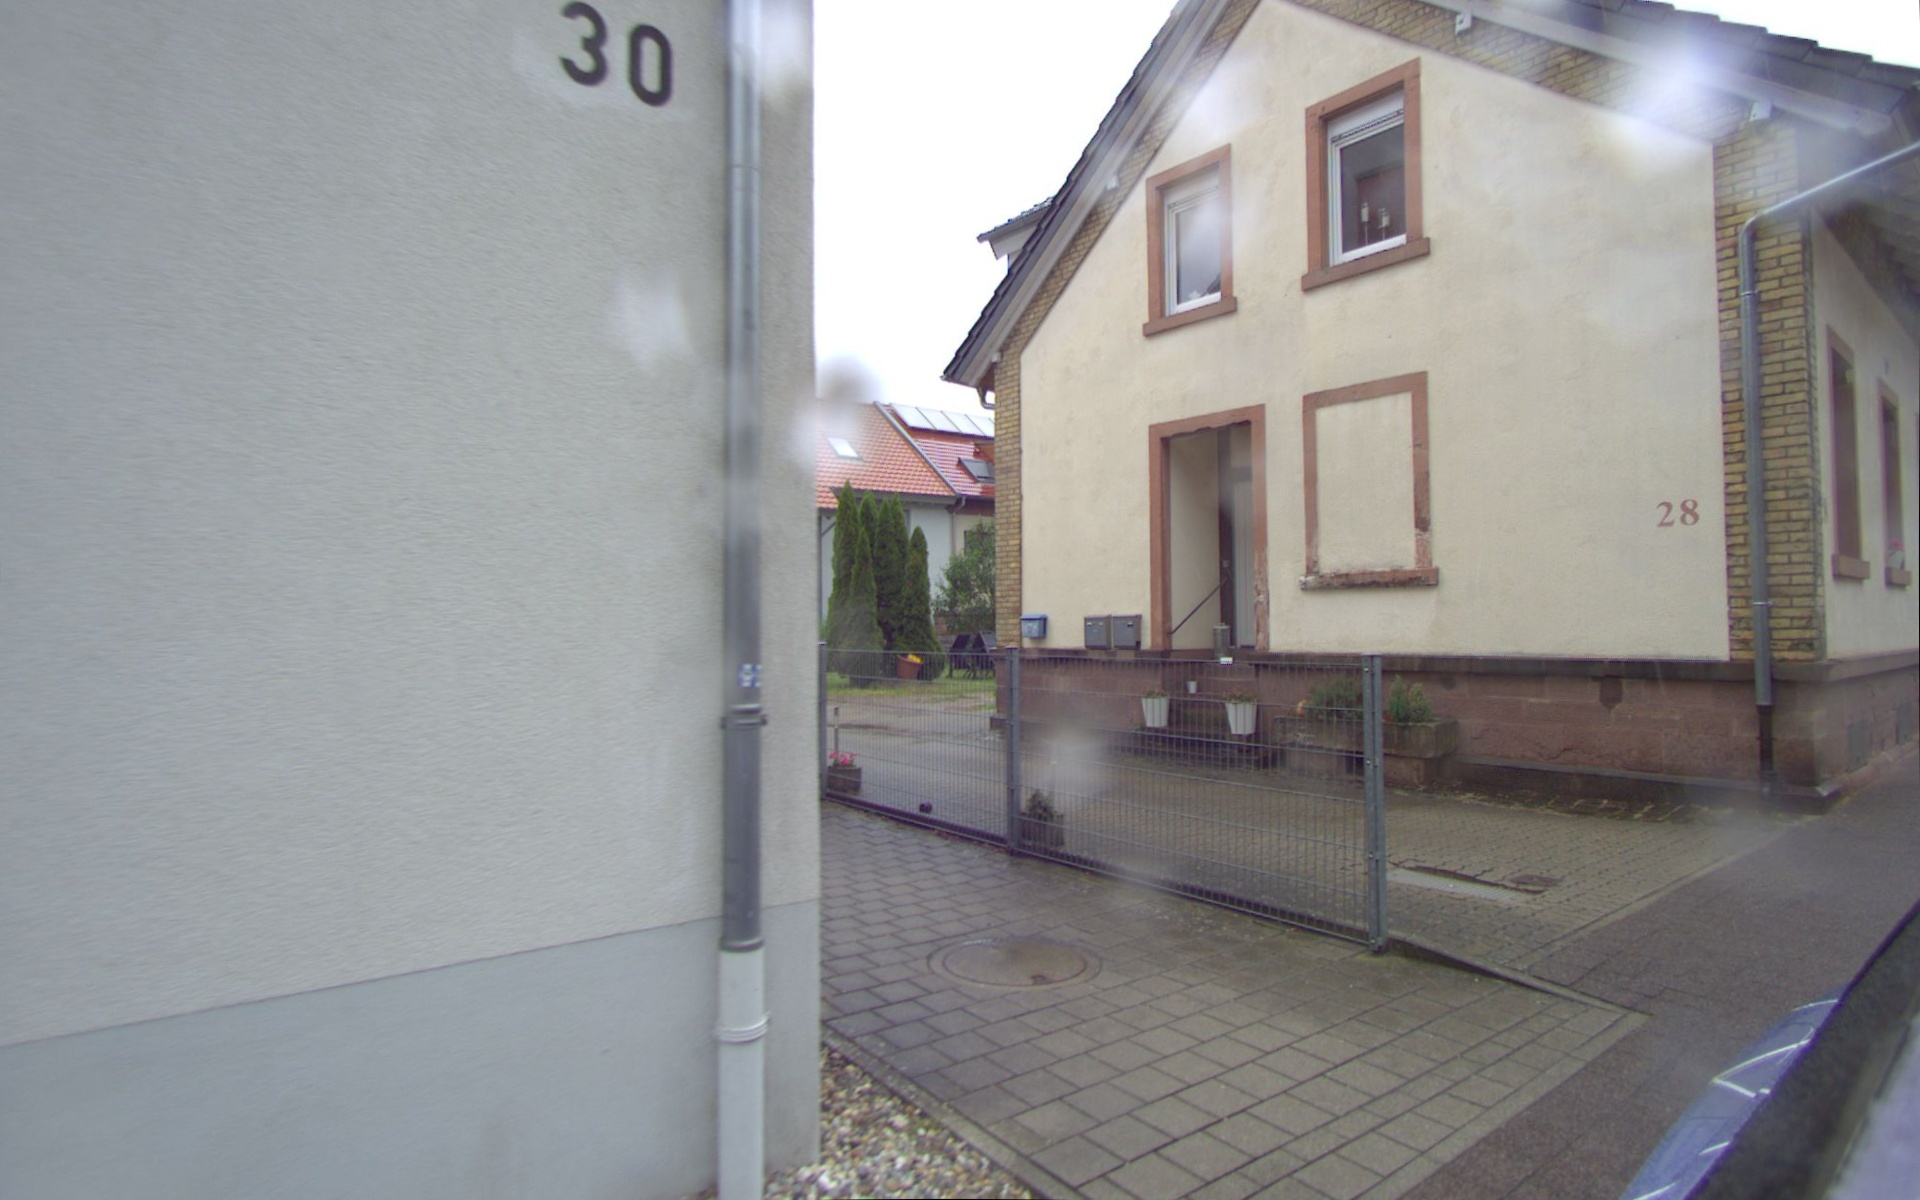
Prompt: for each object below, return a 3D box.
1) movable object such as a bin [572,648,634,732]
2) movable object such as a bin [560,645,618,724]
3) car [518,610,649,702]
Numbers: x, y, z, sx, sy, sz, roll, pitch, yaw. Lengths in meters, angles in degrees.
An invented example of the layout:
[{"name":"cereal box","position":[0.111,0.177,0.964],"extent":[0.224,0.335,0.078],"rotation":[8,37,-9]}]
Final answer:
[{"name":"movable object such as a bin","position":[-5.000,1.247,14.175],"extent":[0.675,1.110,0.536],"rotation":[0,-2,-38]},{"name":"movable object such as a bin","position":[-5.482,1.229,14.961],"extent":[0.675,1.110,0.536],"rotation":[0,-2,-38]},{"name":"car","position":[-7.667,1.035,20.396],"extent":[1.651,1.491,4.003],"rotation":[0,2,-33]}]
